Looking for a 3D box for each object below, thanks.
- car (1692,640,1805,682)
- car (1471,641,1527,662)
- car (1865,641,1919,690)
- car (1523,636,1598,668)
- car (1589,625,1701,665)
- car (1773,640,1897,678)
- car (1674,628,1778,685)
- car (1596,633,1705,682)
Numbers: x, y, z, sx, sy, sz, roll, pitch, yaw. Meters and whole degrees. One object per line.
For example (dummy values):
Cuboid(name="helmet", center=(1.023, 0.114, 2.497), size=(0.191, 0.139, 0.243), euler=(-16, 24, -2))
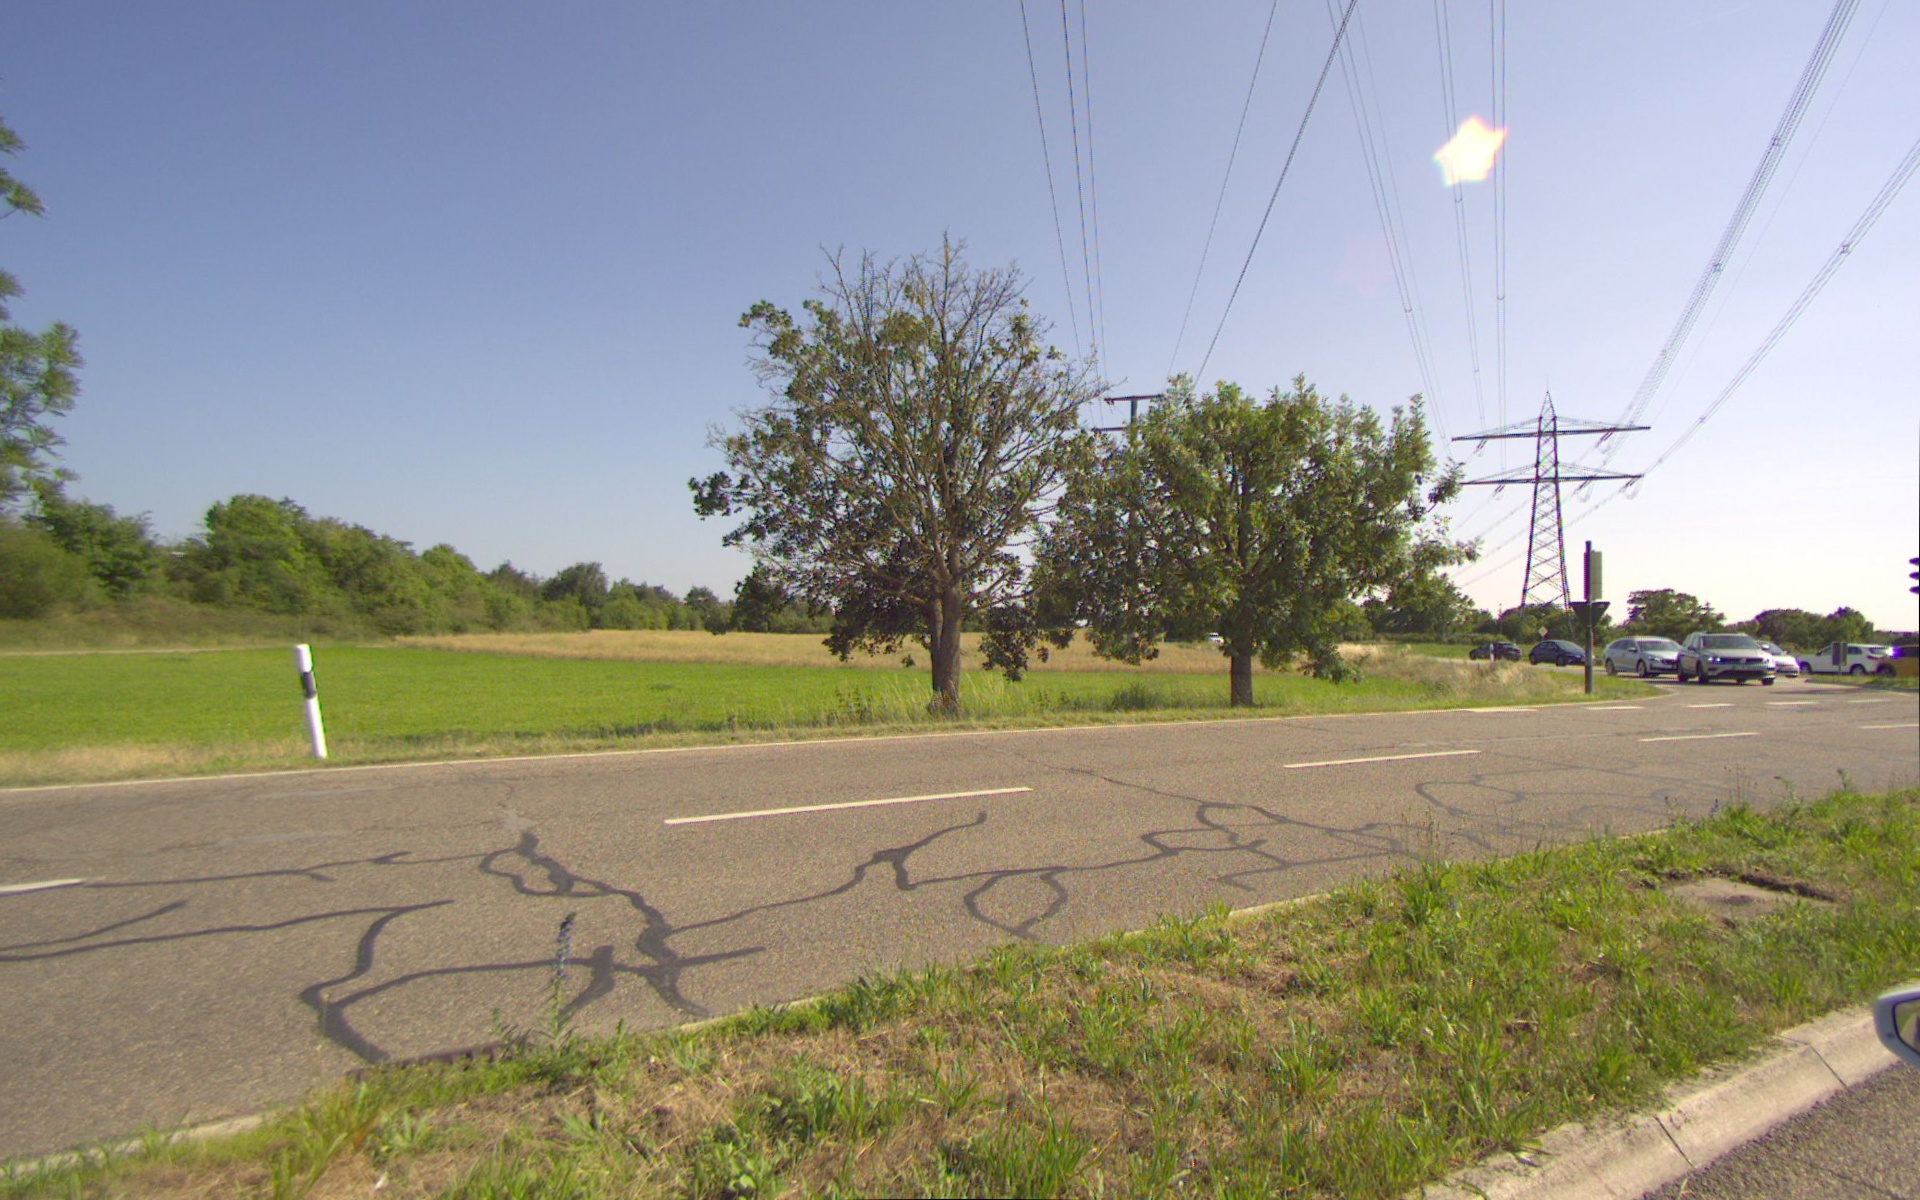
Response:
Cuboid(name="car", center=(34.448, 2.626, 44.018), size=(1.784, 1.673, 4.000), euler=(1, -1, -1))
Cuboid(name="car", center=(39.260, 3.731, 73.252), size=(1.683, 1.435, 4.103), euler=(1, -1, -2))
Cuboid(name="car", center=(34.370, 2.322, 35.132), size=(1.784, 1.673, 4.000), euler=(1, -1, -1))
Cuboid(name="car", center=(33.923, 2.922, 56.851), size=(1.784, 1.673, 4.000), euler=(1, -1, -1))
Cuboid(name="car", center=(31.009, 1.996, 45.640), size=(1.784, 1.673, 4.761), euler=(1, -1, -1))
Cuboid(name="car", center=(39.873, 2.657, 45.911), size=(1.773, 1.539, 4.334), euler=(1, -1, -3))
Cuboid(name="car", center=(24.072, 1.733, 31.716), size=(1.786, 1.673, 3.997), euler=(0, -2, 25))
Cuboid(name="car", center=(26.085, 2.134, 38.112), size=(1.783, 1.673, 4.003), euler=(1, -1, 7))
